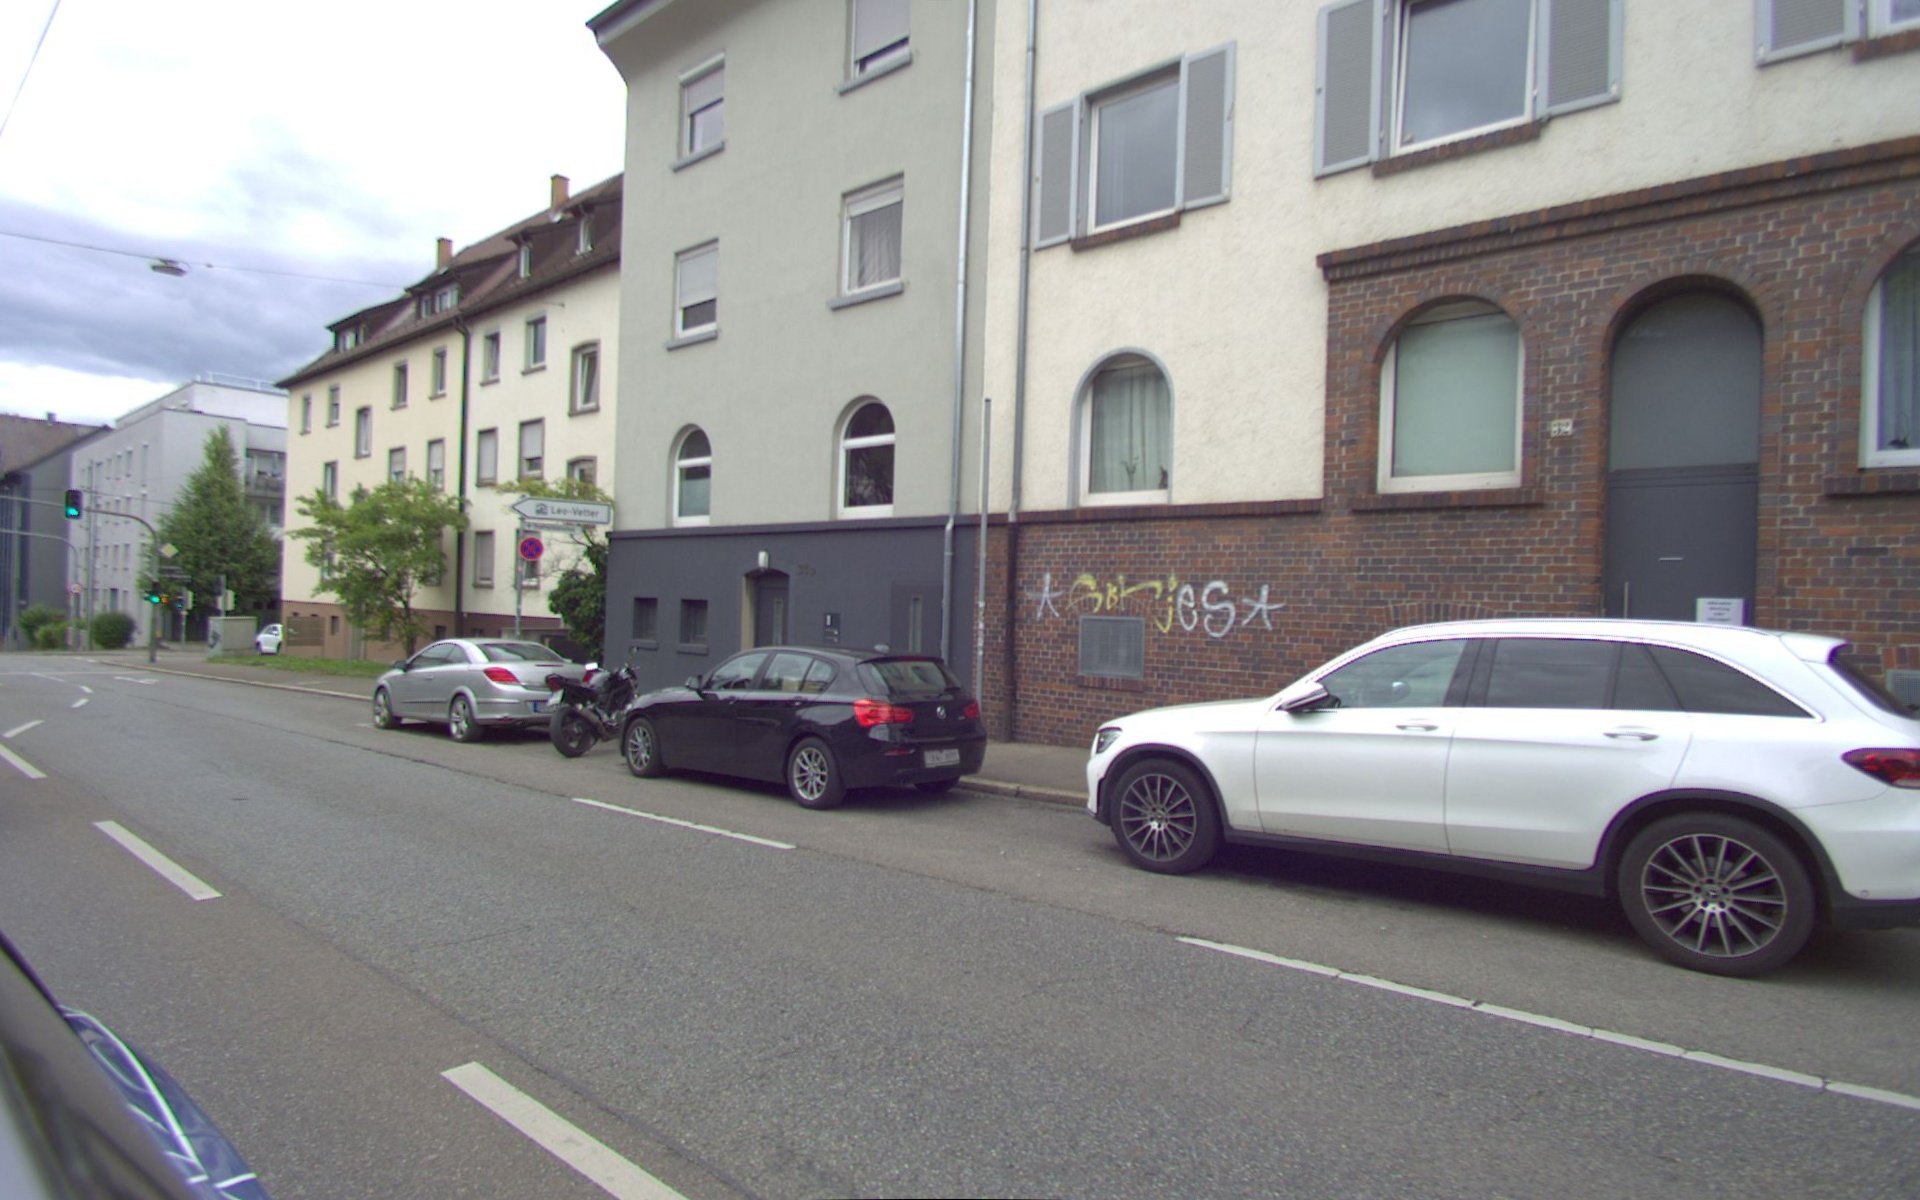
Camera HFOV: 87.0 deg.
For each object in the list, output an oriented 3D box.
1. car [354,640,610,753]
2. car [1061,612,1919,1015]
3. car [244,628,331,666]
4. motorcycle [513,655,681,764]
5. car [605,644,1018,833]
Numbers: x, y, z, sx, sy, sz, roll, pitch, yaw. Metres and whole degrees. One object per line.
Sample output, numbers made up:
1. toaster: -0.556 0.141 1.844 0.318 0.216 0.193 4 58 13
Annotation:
1. car: -7.097 1.303 14.828 4.333 1.384 1.709 -1 -3 40
2. car: 3.038 0.937 6.070 4.640 1.634 1.826 -1 -3 40
3. car: -29.421 2.086 44.260 4.252 1.549 1.797 -3 -5 37
4. motorcycle: -4.529 1.341 12.802 0.802 1.245 2.031 0 -4 23
5. car: -1.602 1.175 9.970 4.189 1.440 1.709 -2 -3 41
